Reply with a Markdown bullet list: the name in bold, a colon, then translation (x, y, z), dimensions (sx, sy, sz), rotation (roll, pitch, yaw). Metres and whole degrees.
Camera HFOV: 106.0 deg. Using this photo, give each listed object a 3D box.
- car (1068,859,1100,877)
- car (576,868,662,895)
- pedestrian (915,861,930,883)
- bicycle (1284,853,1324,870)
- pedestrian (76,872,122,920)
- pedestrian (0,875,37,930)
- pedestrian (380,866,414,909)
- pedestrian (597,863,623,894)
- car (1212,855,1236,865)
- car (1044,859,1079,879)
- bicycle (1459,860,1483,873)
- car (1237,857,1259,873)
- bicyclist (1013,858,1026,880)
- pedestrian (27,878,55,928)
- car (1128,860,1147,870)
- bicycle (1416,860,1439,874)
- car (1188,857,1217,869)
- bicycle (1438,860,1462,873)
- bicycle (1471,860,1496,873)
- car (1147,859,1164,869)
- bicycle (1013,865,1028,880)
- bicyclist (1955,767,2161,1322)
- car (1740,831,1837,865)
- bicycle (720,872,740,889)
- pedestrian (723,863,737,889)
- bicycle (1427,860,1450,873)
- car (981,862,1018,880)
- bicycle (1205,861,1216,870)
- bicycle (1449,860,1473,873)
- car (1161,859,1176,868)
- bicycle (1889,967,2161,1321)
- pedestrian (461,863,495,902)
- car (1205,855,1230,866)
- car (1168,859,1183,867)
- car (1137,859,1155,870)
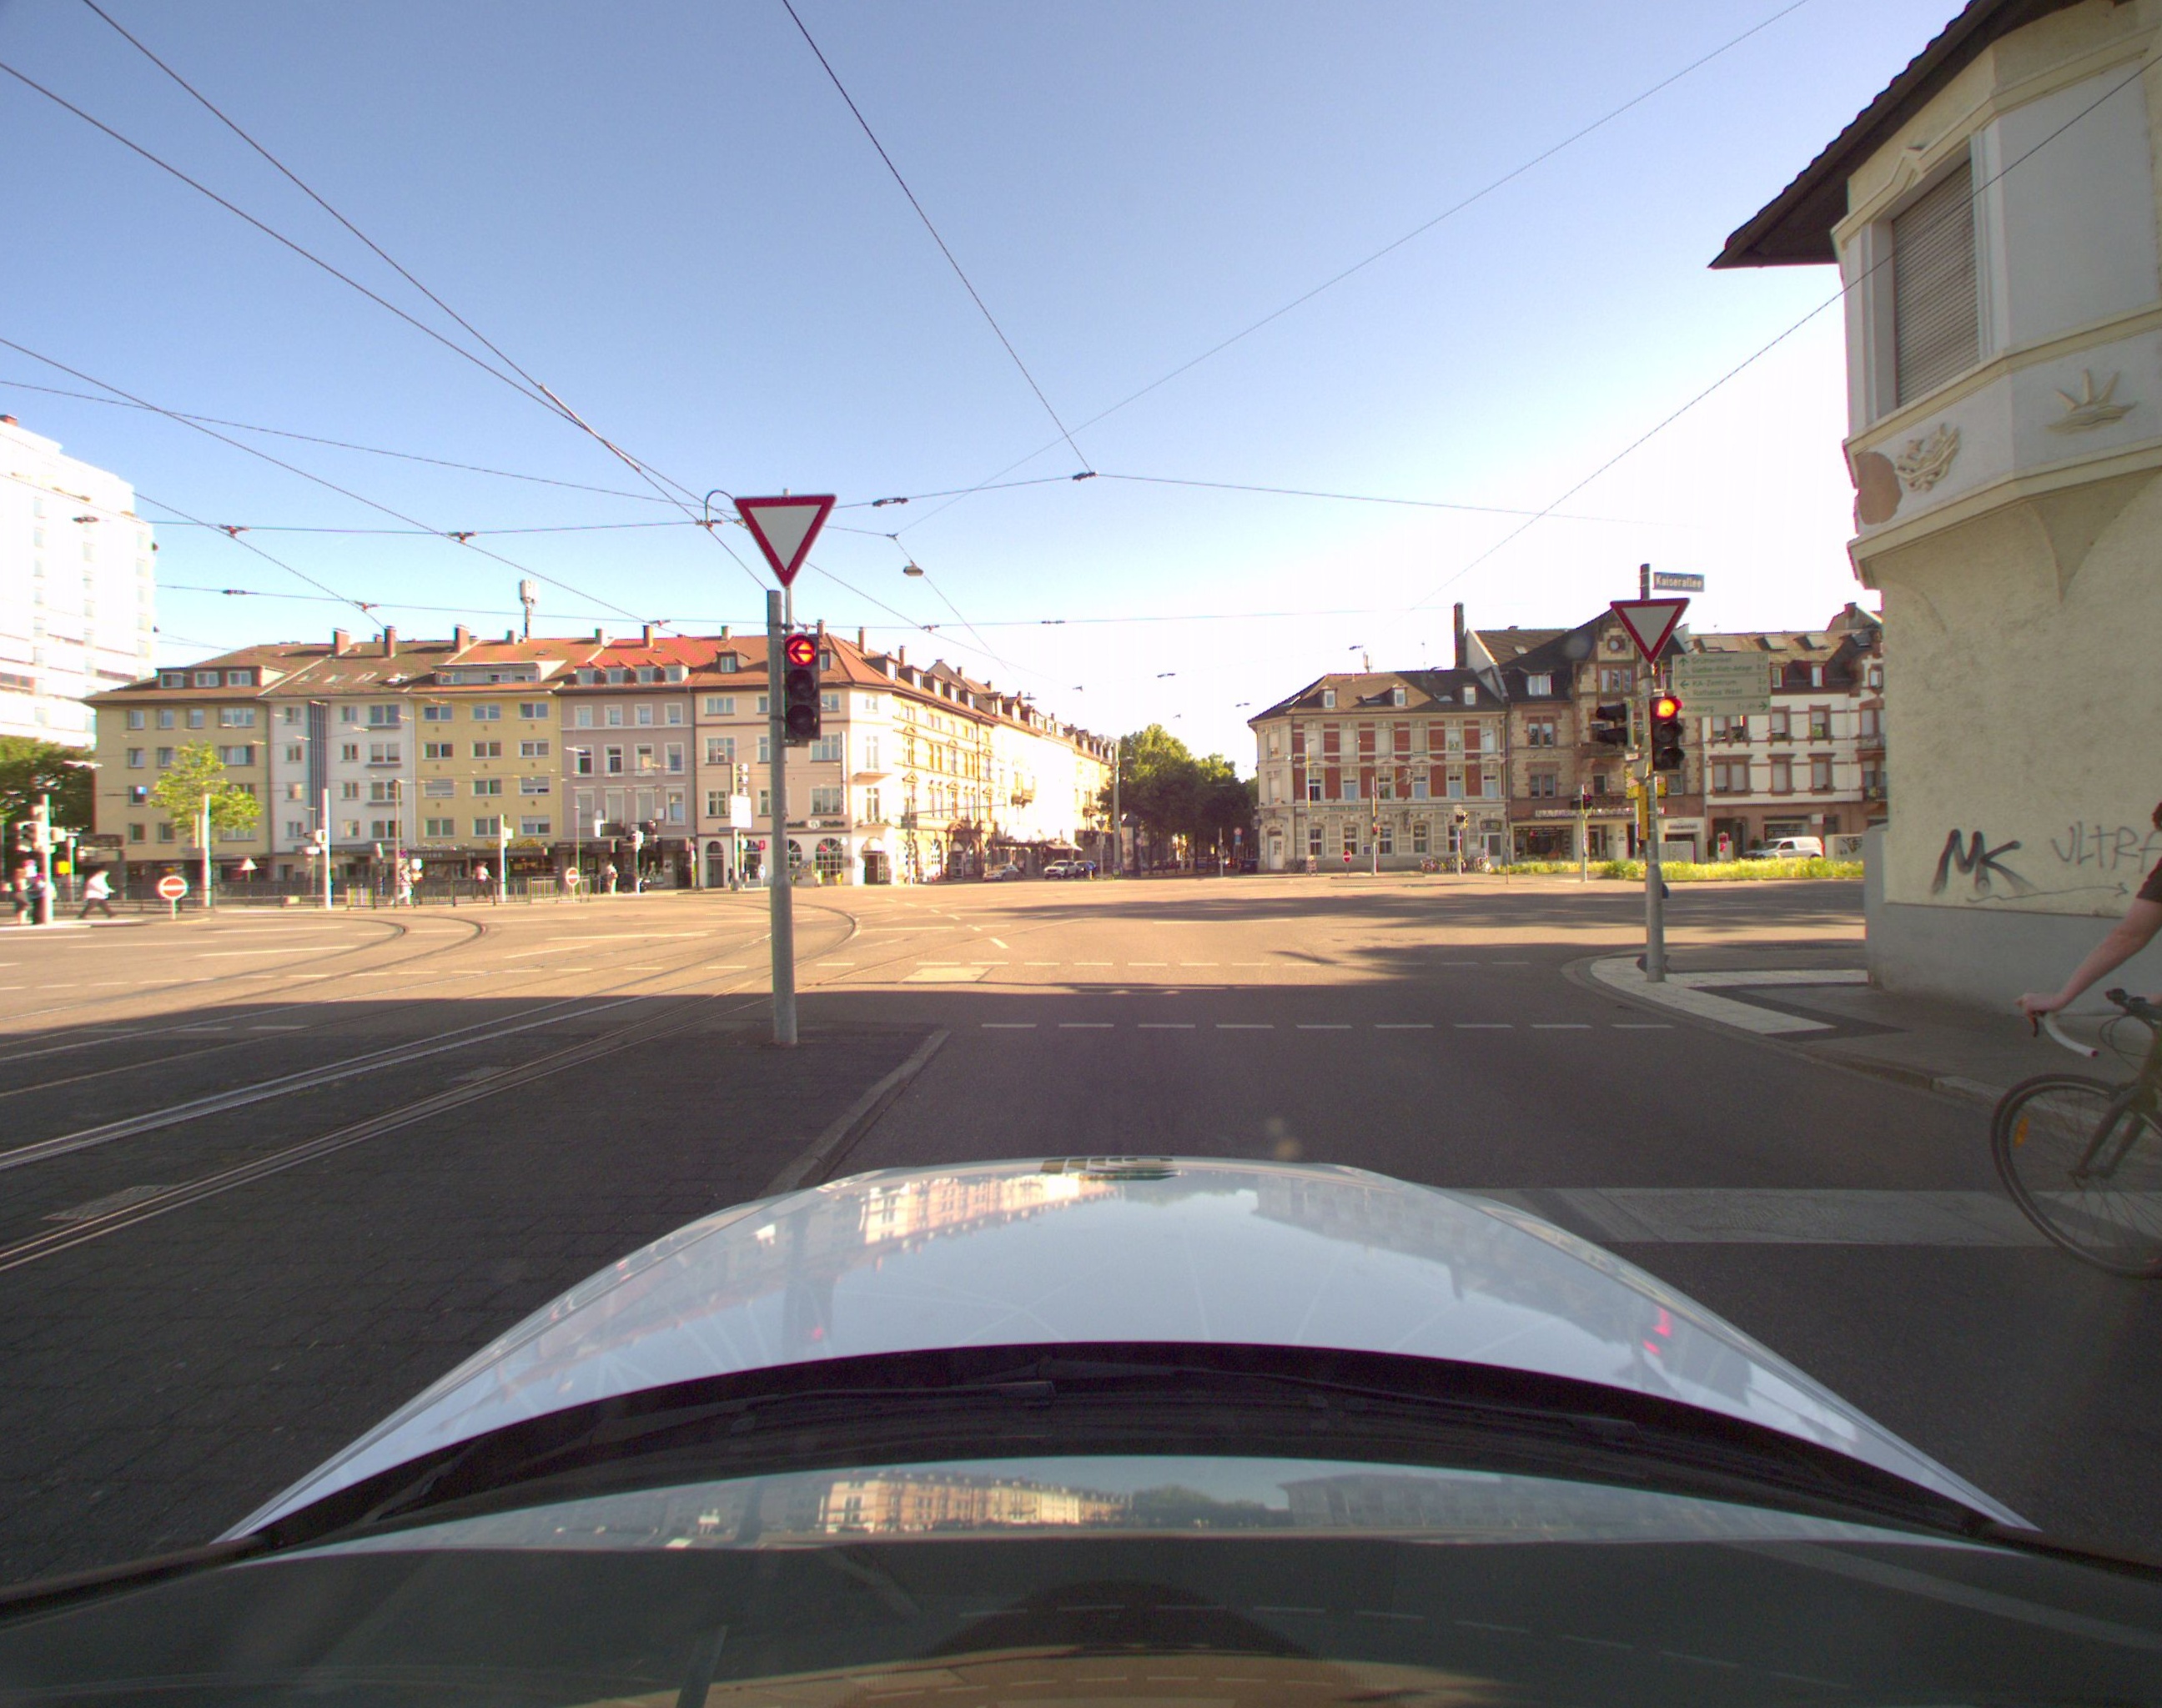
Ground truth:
- **car**: translation (0.313, 1.238, 73.769), dimensions (1.664, 1.483, 3.967), rotation (-2, 0, 19)
- **car**: translation (-30.360, 1.787, 53.637), dimensions (4.347, 1.711, 2.308), rotation (0, -1, 4)
- **pedestrian**: translation (-11.941, 1.333, 61.284), dimensions (0.770, 1.670, 0.834), rotation (-1, -1, 17)
- **bicycle**: translation (15.609, 0.498, 57.059), dimensions (2.547, 1.174, 0.818), rotation (0, -1, -1)
- **pedestrian**: translation (-33.482, 1.412, 27.768), dimensions (0.657, 1.577, 0.889), rotation (-1, -1, 29)
- **pedestrian**: translation (-32.915, 1.499, 25.240), dimensions (0.456, 1.644, 0.643), rotation (-1, 1, 38)
- **pedestrian**: translation (-25.710, 1.238, 30.611), dimensions (0.545, 1.577, 0.838), rotation (-1, -1, 29)
- **pedestrian**: translation (-24.599, 1.286, 42.552), dimensions (0.842, 1.577, 0.836), rotation (-1, -1, 11)
- **car**: translation (23.361, 0.958, 133.154), dimensions (3.549, 1.648, 1.691), rotation (-2, 0, 19)
- **car**: translation (-1.600, 1.211, 67.510), dimensions (1.664, 1.483, 3.789), rotation (-2, 0, 19)
- **bicycle**: translation (25.210, 0.802, 52.702), dimensions (0.656, 0.840, 2.162), rotation (0, -1, 3)
- **car**: translation (16.909, 1.093, 82.334), dimensions (1.664, 1.483, 3.967), rotation (-2, 0, 19)
- **bicyclist**: translation (-4.935, 1.206, 65.414), dimensions (0.772, 1.803, 1.060), rotation (-1, -1, 16)
- **pedestrian**: translation (-31.910, 1.499, 24.991), dimensions (0.456, 1.505, 0.485), rotation (-1, 1, 38)
- **car**: translation (7.704, 1.483, 111.322), dimensions (1.664, 1.354, 3.608), rotation (-2, 0, 19)
- **bicycle**: translation (22.431, 0.823, 52.696), dimensions (0.656, 0.840, 2.162), rotation (0, -1, 3)
- **car**: translation (17.210, 1.250, 115.454), dimensions (3.870, 1.648, 1.691), rotation (-2, 0, 19)
- **bicycle**: translation (23.890, 0.813, 52.740), dimensions (0.656, 0.840, 2.162), rotation (0, -1, 3)
- **bicycle**: translation (26.013, 0.797, 52.716), dimensions (0.656, 0.840, 2.162), rotation (0, -1, 3)
- **car**: translation (11.248, 1.498, 122.363), dimensions (1.664, 1.354, 3.608), rotation (-2, 0, 19)
- **bicycle**: translation (-4.889, 1.481, 65.534), dimensions (0.696, 1.118, 1.642), rotation (-1, -1, 16)
- **bicyclist**: translation (3.580, 0.578, 2.500), dimensions (0.570, 1.701, 1.117), rotation (-1, 0, 2)
- **car**: translation (45.448, -0.384, 52.401), dimensions (4.406, 2.013, 2.002), rotation (-1, 0, 4)
- **bicycle**: translation (-22.815, 1.701, 52.917), dimensions (0.570, 1.077, 1.497), rotation (0, -1, 2)
- **pedestrian**: translation (-22.816, 1.407, 52.926), dimensions (0.580, 1.670, 0.753), rotation (0, -1, 2)
- **bicycle**: translation (23.166, 0.818, 52.755), dimensions (0.656, 0.840, 2.162), rotation (0, -1, 3)
- **car**: translation (-6.704, 1.422, 67.226), dimensions (1.664, 1.354, 3.608), rotation (-2, 0, 19)
- **bicycle**: translation (15.775, 1.386, 99.279), dimensions (0.636, 1.021, 1.839), rotation (0, -1, -12)
- **bicycle**: translation (24.573, 0.808, 52.747), dimensions (0.656, 0.840, 2.162), rotation (0, -1, 3)
- **car**: translation (14.039, 1.494, 130.608), dimensions (1.664, 1.354, 3.608), rotation (-2, 0, 19)
- **bicycle**: translation (3.605, 0.960, 2.508), dimensions (0.516, 0.970, 1.750), rotation (-1, 0, 2)
- **pedestrian**: translation (-24.674, 1.174, 33.350), dimensions (0.720, 1.577, 0.836), rotation (-1, -1, 11)
- **car**: translation (21.455, 1.052, 127.720), dimensions (3.549, 1.648, 1.691), rotation (-2, 0, 19)
- **car**: translation (15.726, 1.513, 135.601), dimensions (1.664, 1.354, 3.608), rotation (-2, 0, 19)
- **car**: translation (9.179, 1.486, 115.446), dimensions (1.664, 1.354, 3.608), rotation (-2, 0, 19)
